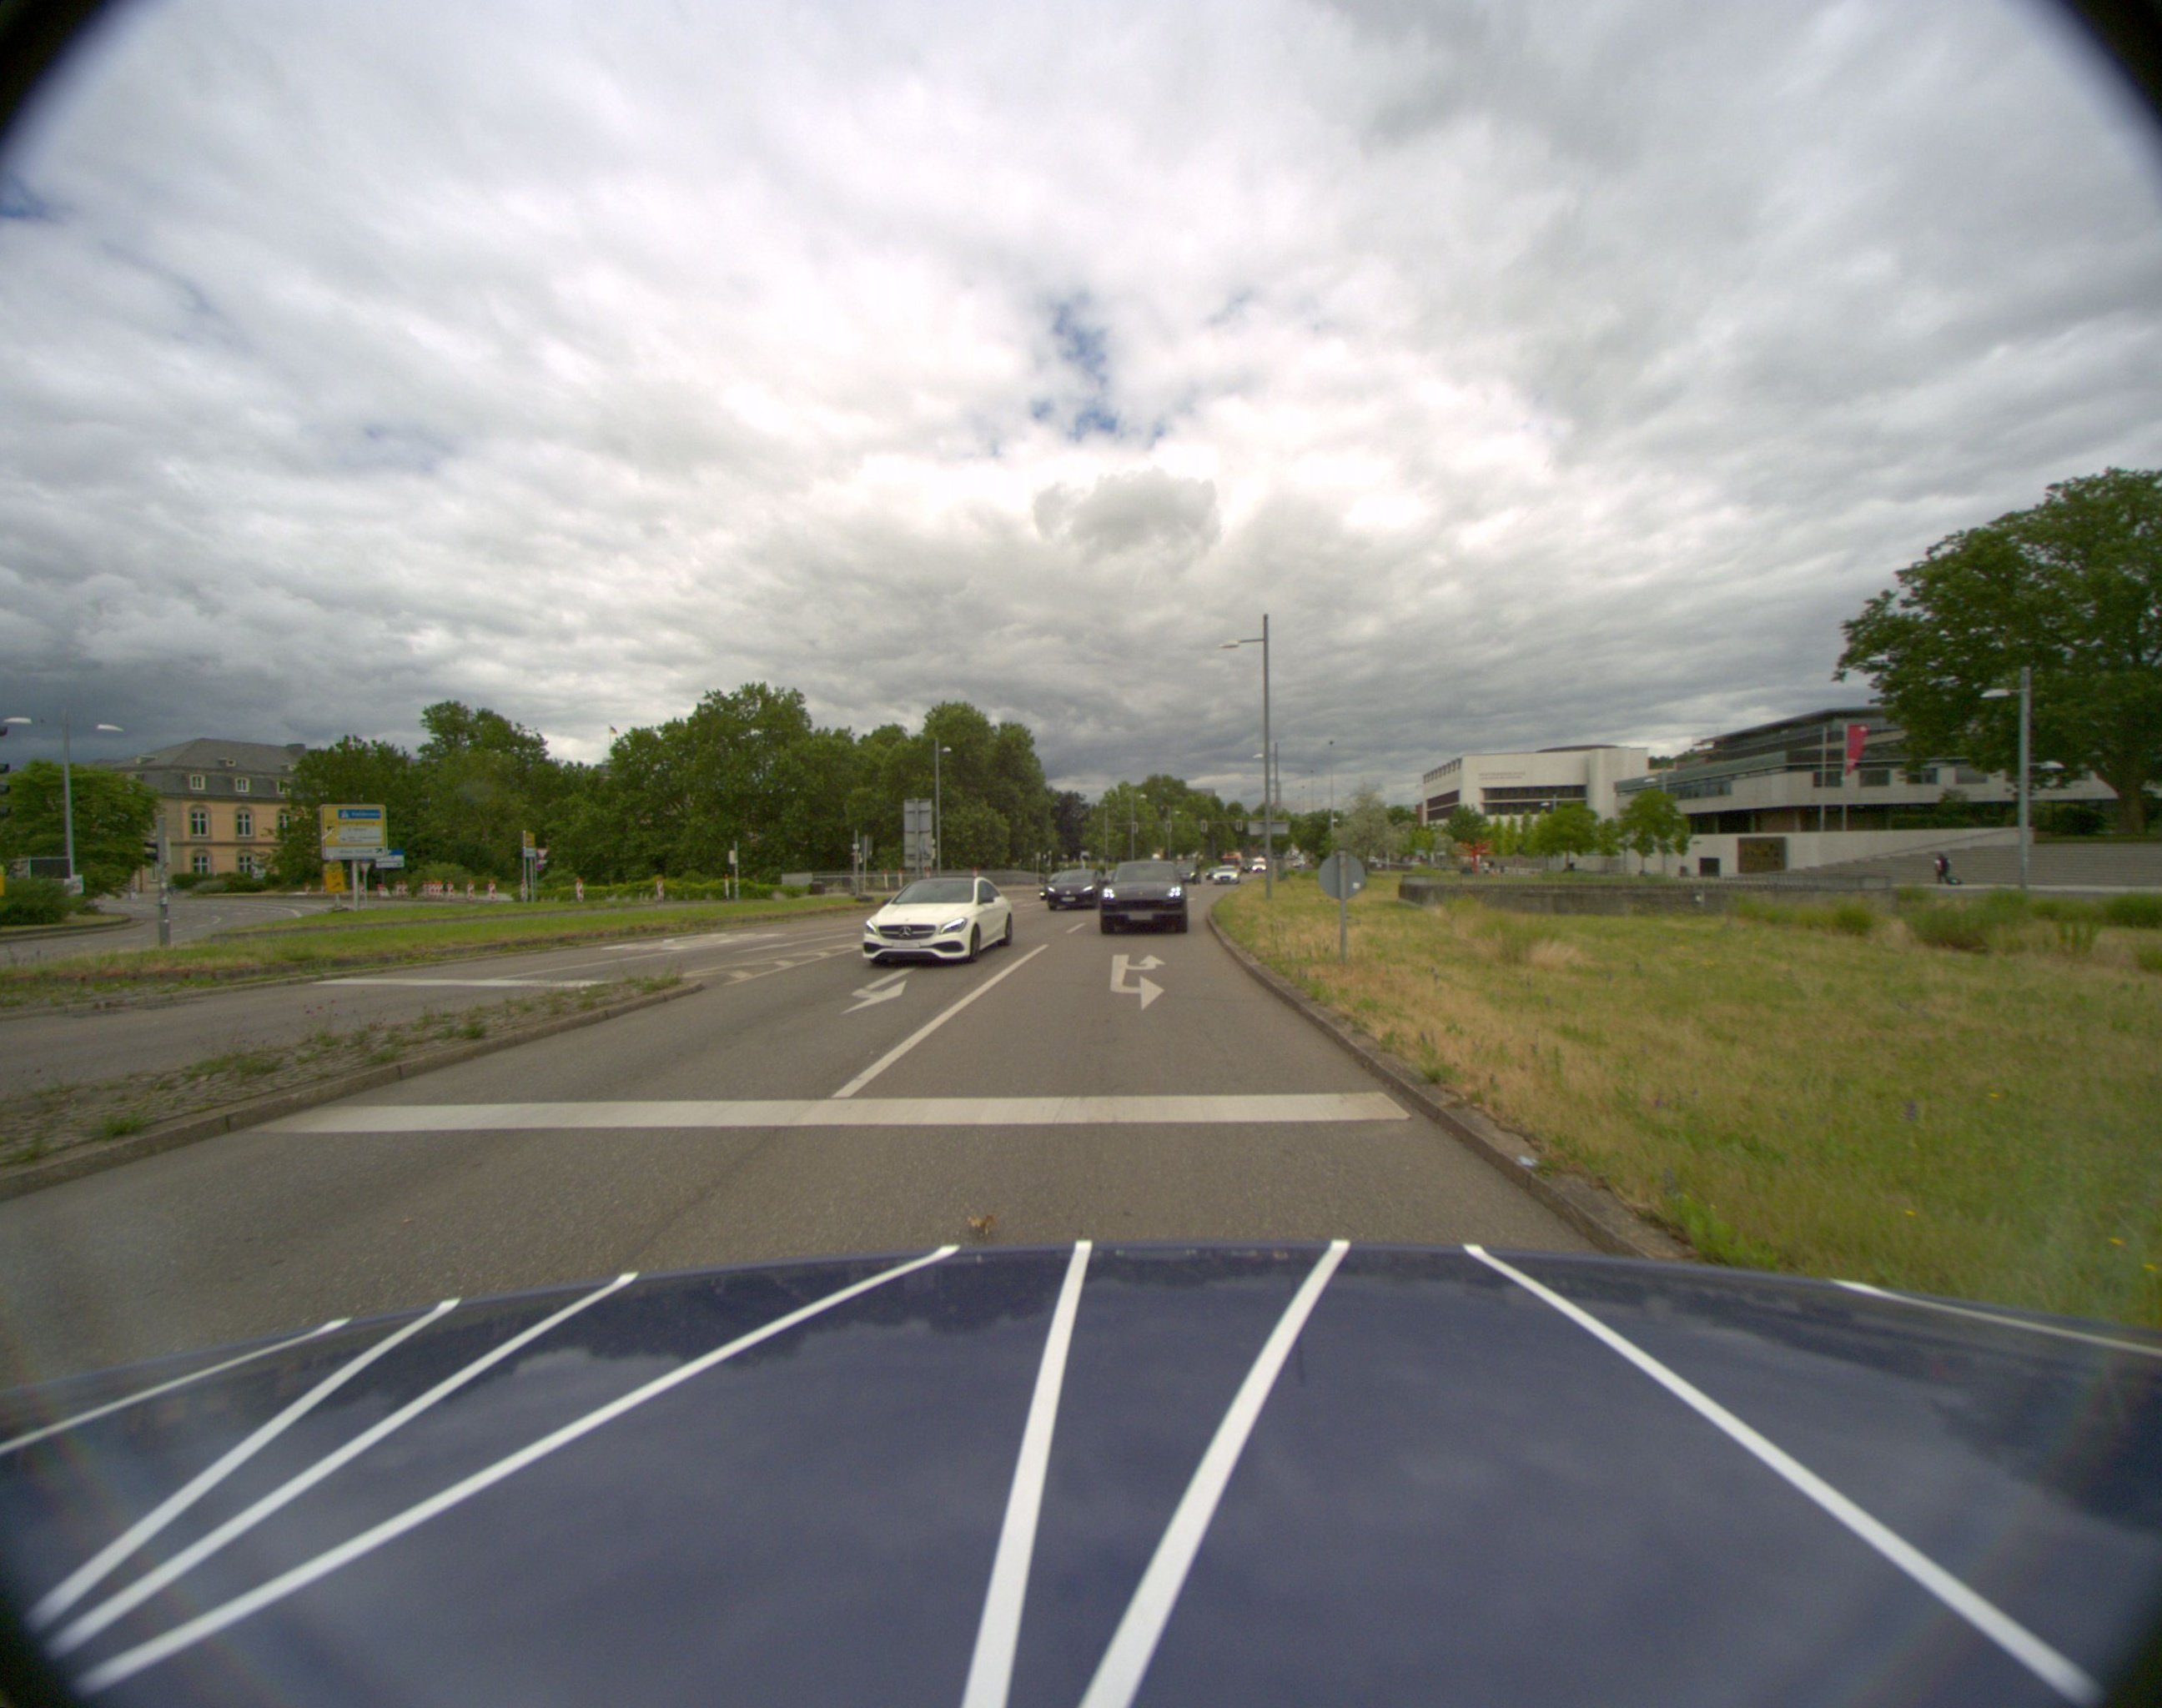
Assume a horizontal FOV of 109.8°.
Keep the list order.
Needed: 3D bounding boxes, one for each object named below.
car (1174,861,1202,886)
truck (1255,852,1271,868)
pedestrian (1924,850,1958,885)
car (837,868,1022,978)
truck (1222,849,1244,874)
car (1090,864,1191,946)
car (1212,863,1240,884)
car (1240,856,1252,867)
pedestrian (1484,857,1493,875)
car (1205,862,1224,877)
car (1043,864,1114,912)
[{"bbox_3d":[9.079,1.623,64.270,1.857,1.976,4.646,0,0,13],"label":"car"},{"bbox_3d":[32.422,1.069,135.119,1.952,2.767,5.798,-2,0,22],"label":"truck"},{"bbox_3d":[42.939,0.661,37.930,0.682,1.738,0.892,-1,0,9],"label":"pedestrian"},{"bbox_3d":[-2.471,1.091,13.716,1.869,1.560,4.655,-2,0,7],"label":"car"},{"bbox_3d":[22.632,1.056,112.473,2.723,3.594,9.188,-2,0,14],"label":"truck"},{"bbox_3d":[1.582,1.088,18.195,2.003,1.628,5.024,-2,0,9],"label":"car"},{"bbox_3d":[11.674,1.531,60.857,2.093,1.600,4.416,0,0,12],"label":"car"},{"bbox_3d":[27.598,1.269,127.183,1.780,1.896,3.803,-1,-1,14],"label":"car"},{"bbox_3d":[37.026,1.072,69.048,0.446,1.625,0.470,-2,0,-15],"label":"pedestrian"},{"bbox_3d":[15.481,1.771,87.951,1.857,1.728,3.744,-2,0,13],"label":"car"},{"bbox_3d":[0.000,1.254,29.542,1.997,1.537,4.571,-1,1,9],"label":"car"}]
